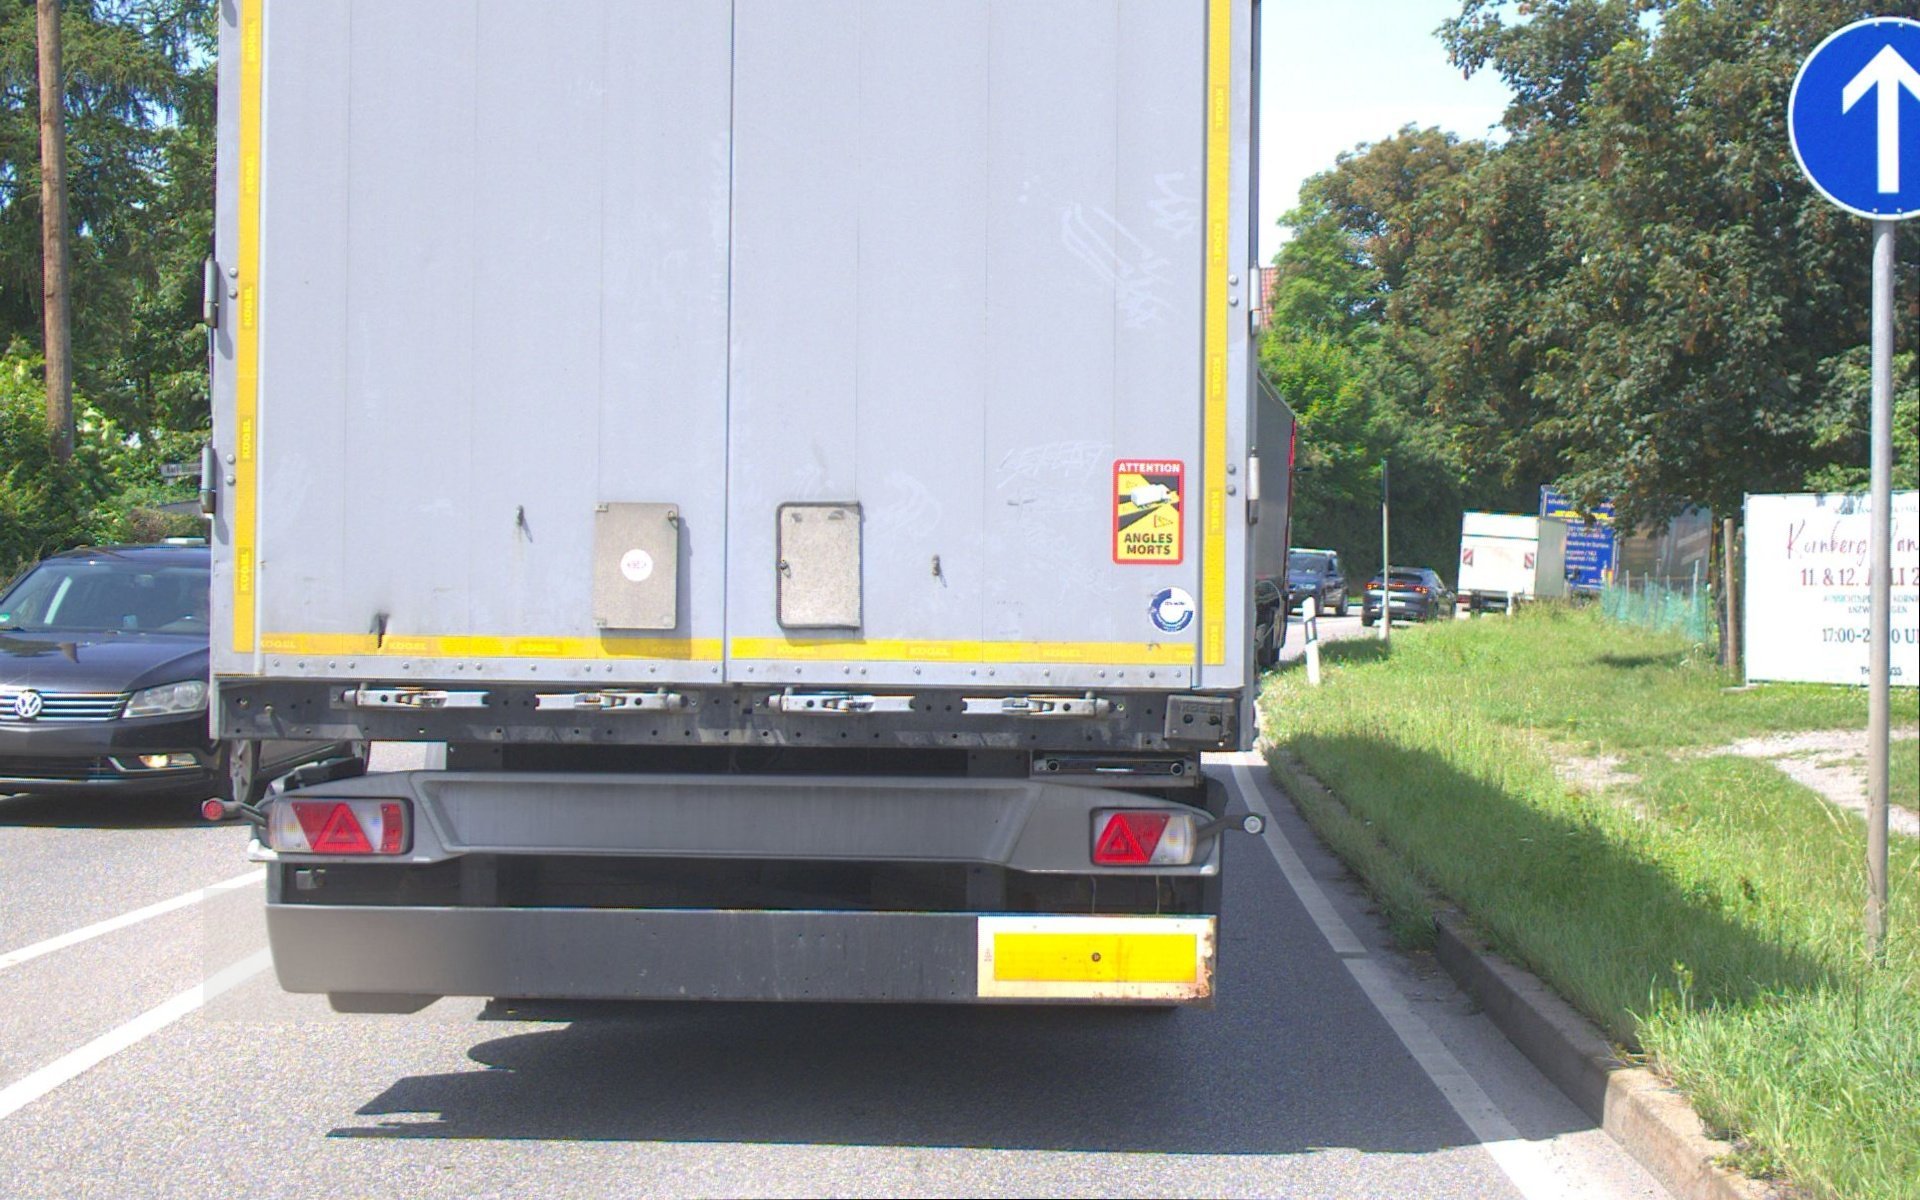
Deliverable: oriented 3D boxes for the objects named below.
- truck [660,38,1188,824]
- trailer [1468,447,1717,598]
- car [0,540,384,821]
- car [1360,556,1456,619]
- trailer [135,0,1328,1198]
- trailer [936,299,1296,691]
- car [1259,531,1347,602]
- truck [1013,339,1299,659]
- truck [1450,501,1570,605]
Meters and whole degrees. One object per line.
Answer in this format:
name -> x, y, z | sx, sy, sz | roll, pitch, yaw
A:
truck -> 0.002, -0.982, 21.329 | 2.746, 4.151, 6.142 | 1, 1, 4
trailer -> 21.032, -2.575, 113.064 | 5.185, 4.612, 15.879 | 1, 2, 21
car -> -4.642, 0.380, 19.644 | 1.815, 1.412, 4.614 | 0, 1, 2
car -> 11.190, -0.340, 85.678 | 1.842, 1.481, 3.997 | 1, 1, 15
trailer -> -0.341, -0.870, 14.087 | 2.787, 4.191, 12.111 | 0, 2, 2
trailer -> 2.409, -1.314, 46.118 | 3.892, 4.505, 12.710 | 0, 1, 7
car -> 9.256, -0.929, 92.527 | 1.994, 1.831, 3.998 | 1, 1, 11
truck -> 3.148, -1.505, 52.824 | 3.938, 4.559, 7.150 | 0, 1, 7
truck -> 15.546, -1.365, 96.945 | 2.423, 2.828, 5.407 | 1, 2, 19
